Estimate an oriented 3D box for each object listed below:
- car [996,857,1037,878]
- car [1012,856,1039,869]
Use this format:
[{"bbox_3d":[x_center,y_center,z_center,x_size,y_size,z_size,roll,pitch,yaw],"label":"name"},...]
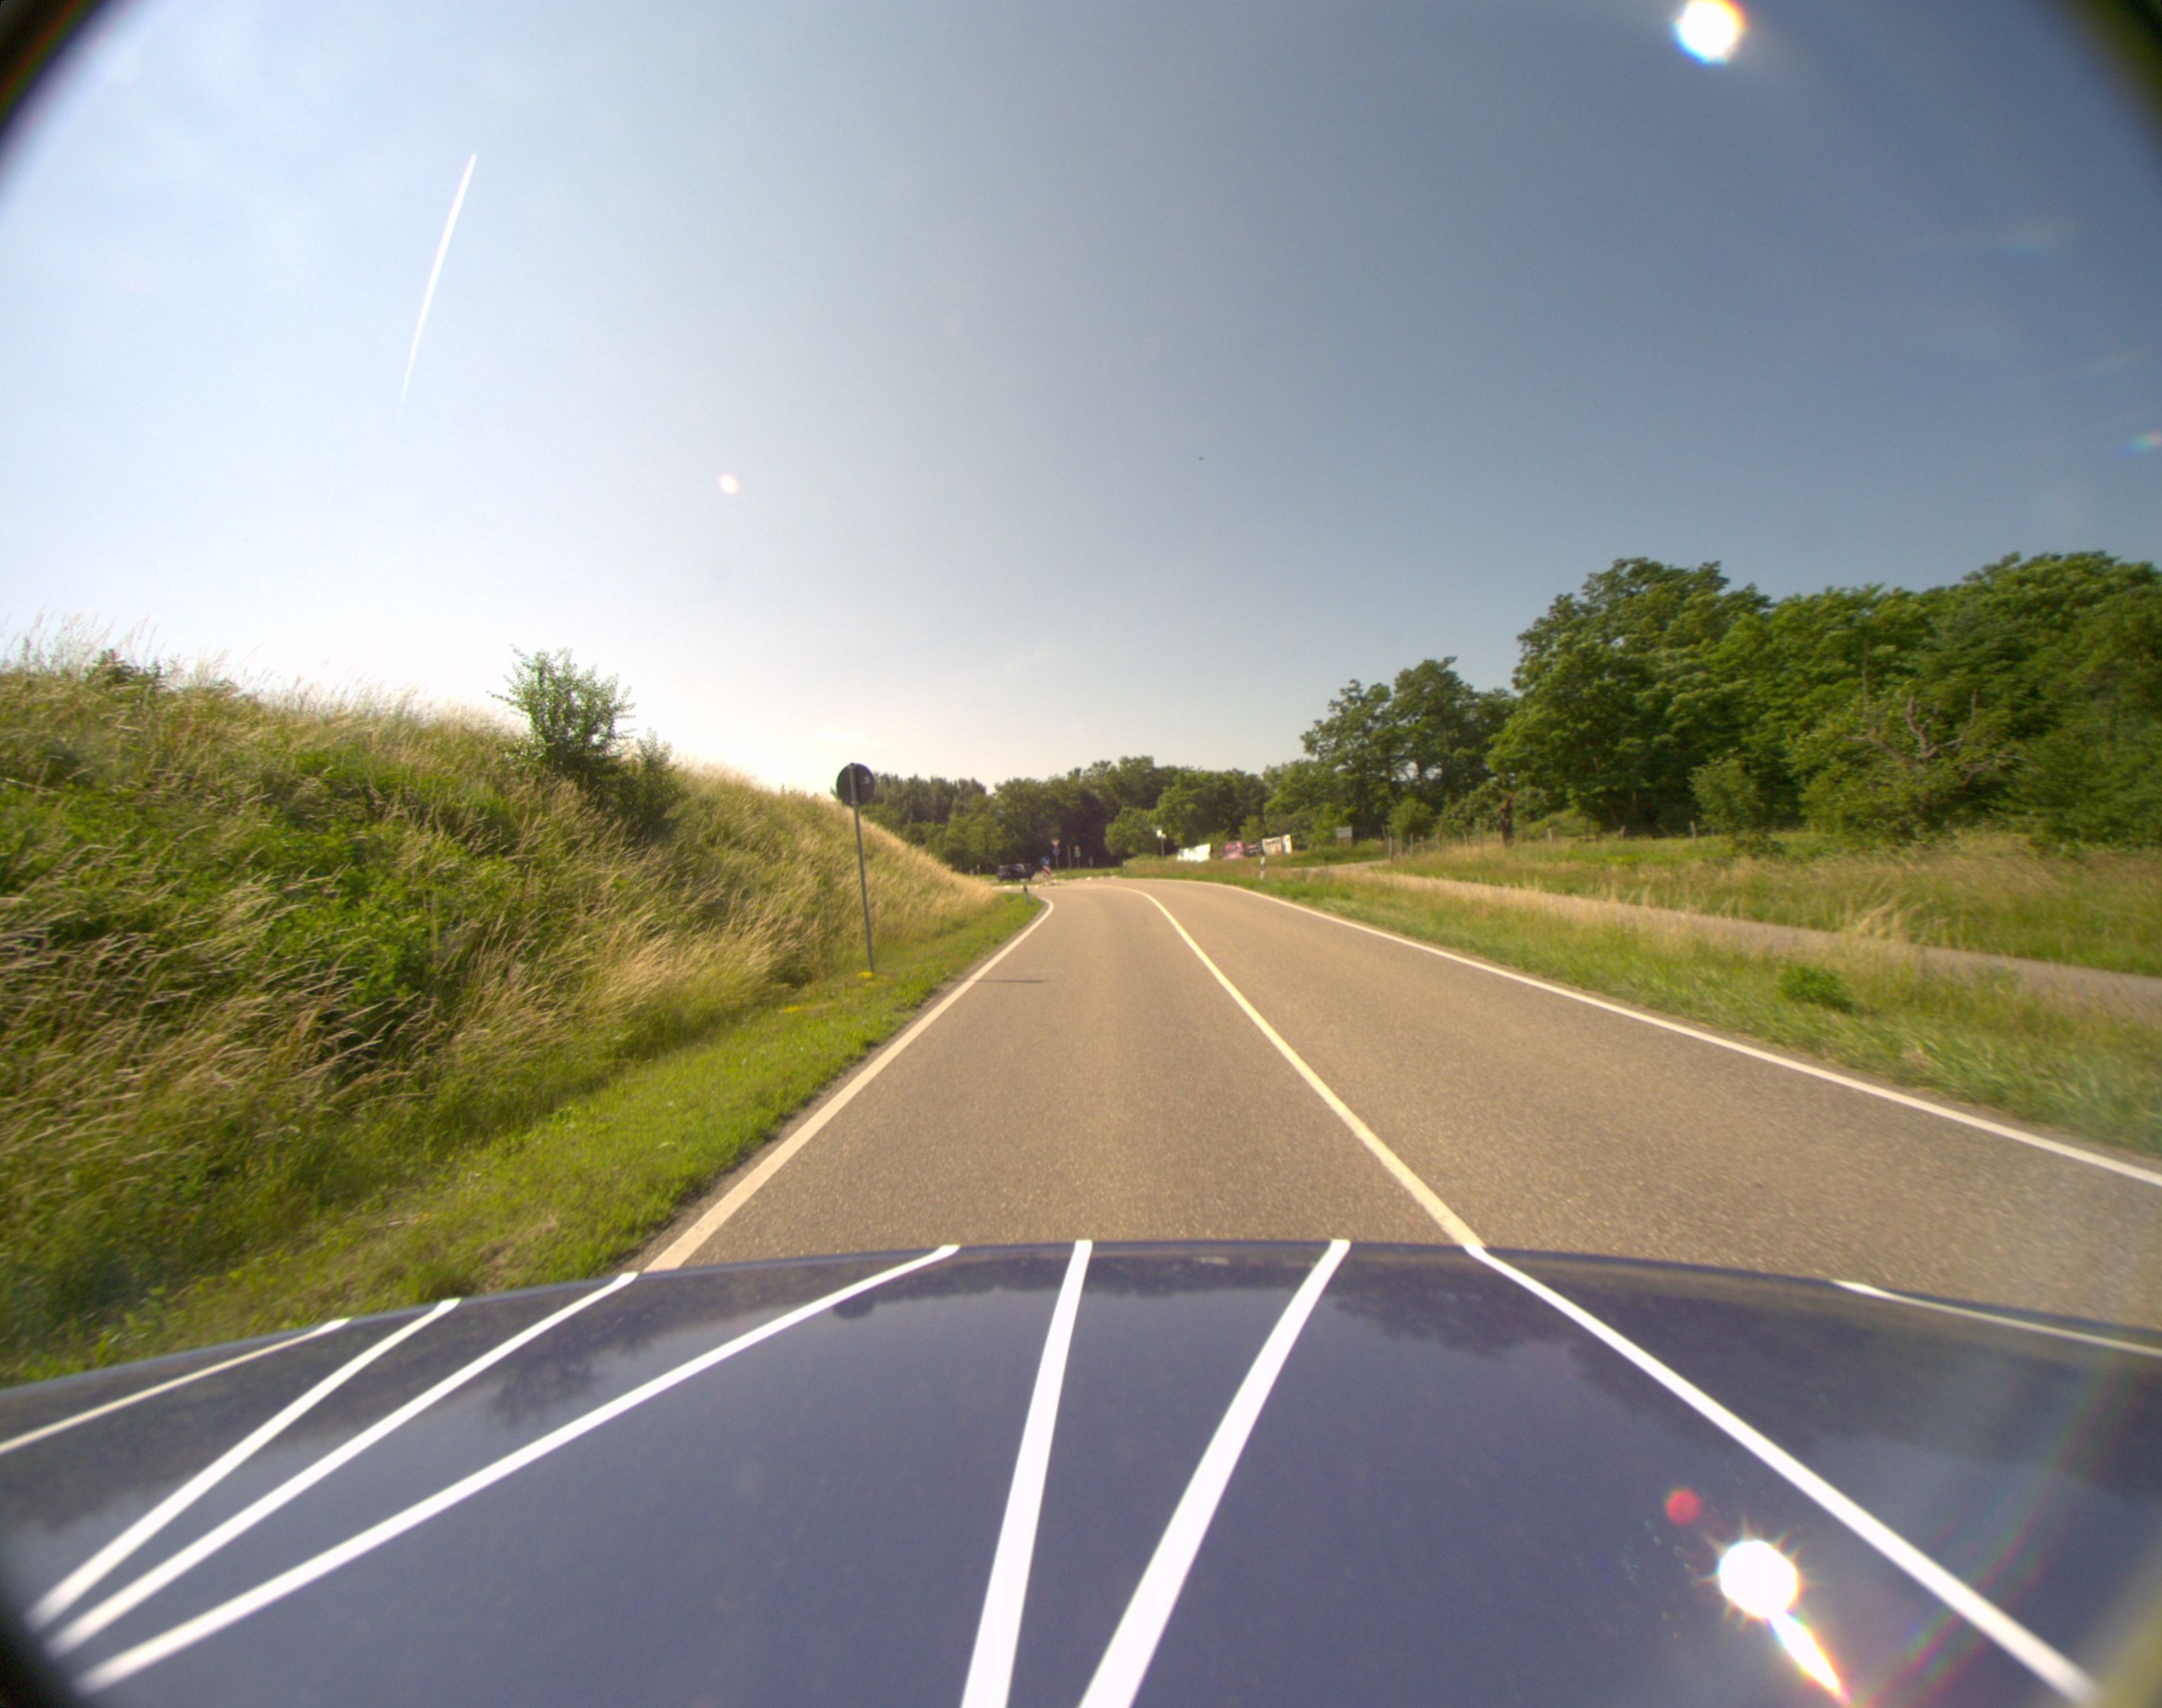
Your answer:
[{"bbox_3d":[-6.414,1.331,75.970,1.704,1.646,4.358,-4,1,30],"label":"car"},{"bbox_3d":[-6.784,1.022,92.272,1.816,1.481,4.670,-5,1,-23],"label":"car"}]
